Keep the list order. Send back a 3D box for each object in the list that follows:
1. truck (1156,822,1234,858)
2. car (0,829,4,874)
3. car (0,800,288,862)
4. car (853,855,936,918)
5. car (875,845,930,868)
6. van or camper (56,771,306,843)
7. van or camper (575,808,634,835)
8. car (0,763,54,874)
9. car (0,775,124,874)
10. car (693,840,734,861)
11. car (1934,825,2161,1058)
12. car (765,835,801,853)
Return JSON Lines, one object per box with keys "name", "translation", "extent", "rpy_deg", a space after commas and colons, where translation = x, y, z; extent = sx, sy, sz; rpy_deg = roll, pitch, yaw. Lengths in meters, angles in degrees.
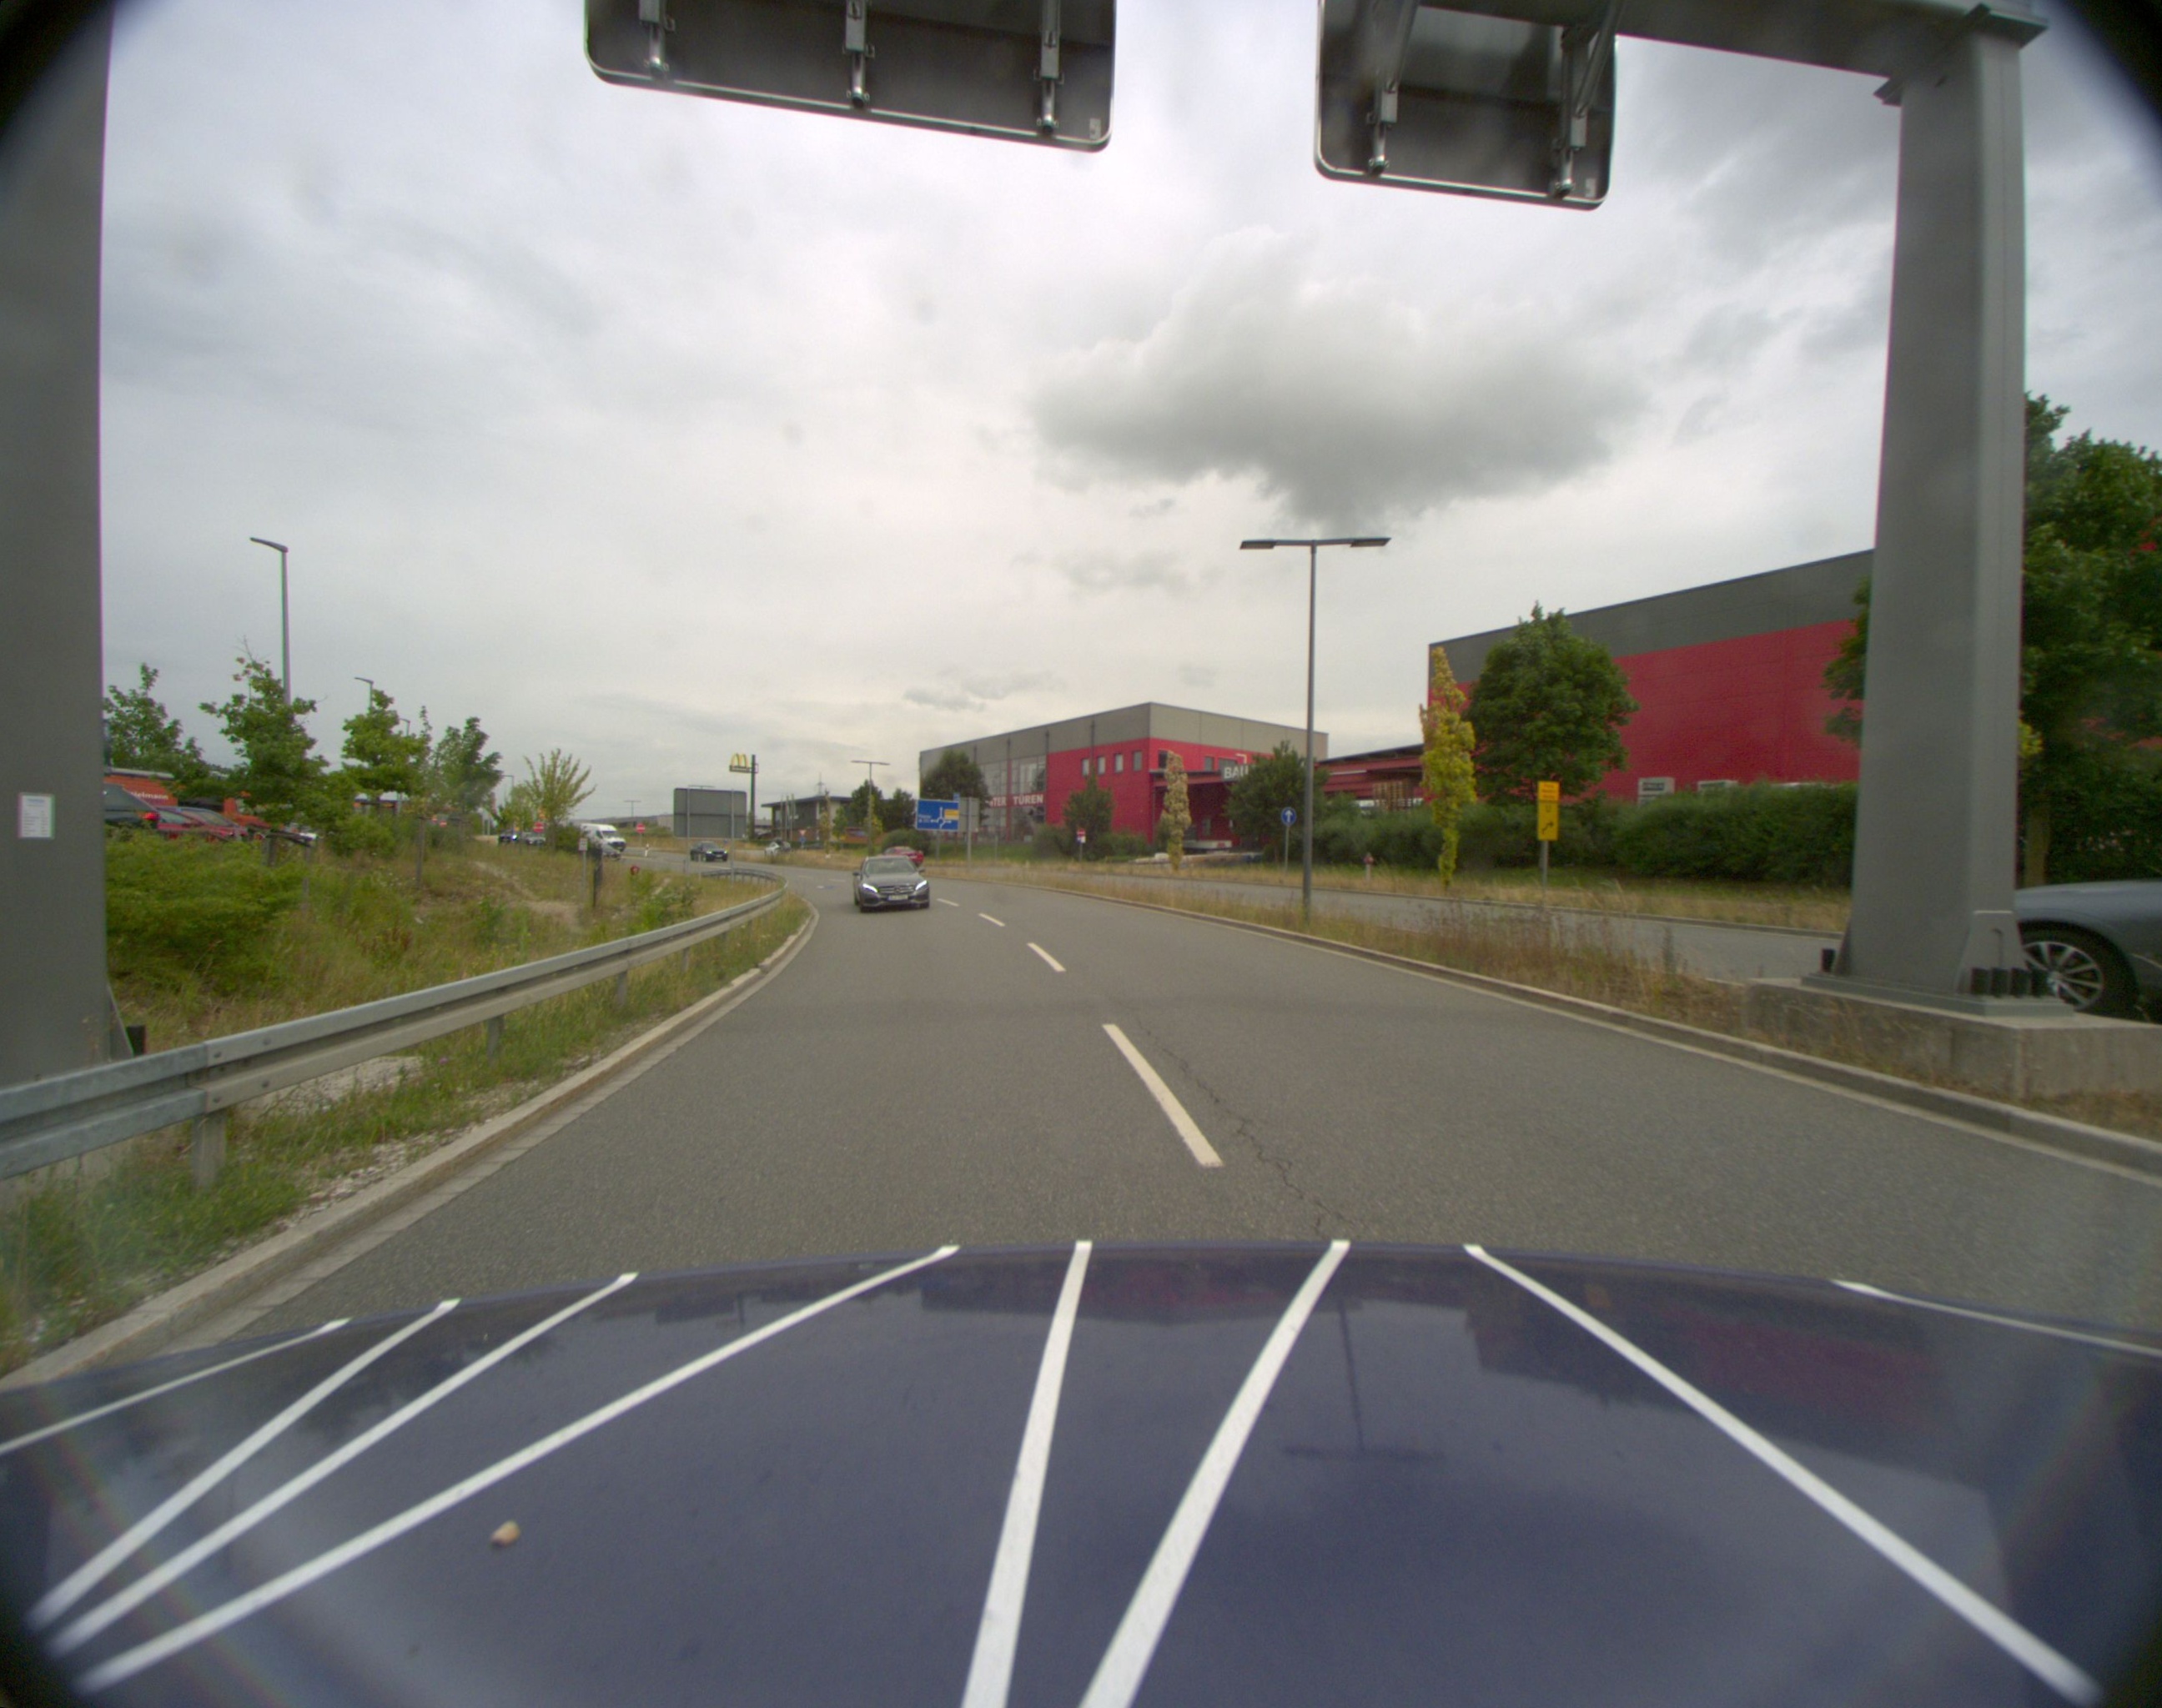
{"name": "truck", "translation": [8.164, -1.005, 55.084], "extent": [2.043, 2.473, 5.891], "rpy_deg": [-2, 2, -37]}
{"name": "car", "translation": [-15.275, -0.535, 7.984], "extent": [1.800, 1.772, 4.174], "rpy_deg": [-1, 2, 22]}
{"name": "car", "translation": [-23.875, -0.573, 19.482], "extent": [1.699, 1.392, 4.597], "rpy_deg": [2, 2, 28]}
{"name": "car", "translation": [-5.389, 0.826, 21.582], "extent": [1.909, 1.488, 4.332], "rpy_deg": [-3, 1, -18]}
{"name": "car", "translation": [-12.499, 0.162, 53.015], "extent": [1.800, 1.439, 4.958], "rpy_deg": [-4, 3, -37]}
{"name": "van or camper", "translation": [-27.739, -1.337, 23.710], "extent": [1.811, 1.986, 4.680], "rpy_deg": [0, 1, 11]}
{"name": "van or camper", "translation": [-48.176, -3.222, 76.795], "extent": [6.027, 2.635, 2.338], "rpy_deg": [1, 2, 29]}
{"name": "car", "translation": [-17.475, -0.448, 10.391], "extent": [1.728, 1.644, 3.865], "rpy_deg": [-1, 2, 32]}
{"name": "car", "translation": [-18.876, -0.449, 12.496], "extent": [1.514, 1.644, 3.741], "rpy_deg": [-1, 2, 36]}
{"name": "car", "translation": [-31.507, -0.315, 65.093], "extent": [3.988, 1.710, 1.847], "rpy_deg": [0, 3, 45]}
{"name": "car", "translation": [8.641, 0.611, 4.451], "extent": [1.814, 1.620, 4.684], "rpy_deg": [-2, 1, -5]}
{"name": "car", "translation": [-28.583, -0.936, 72.798], "extent": [1.918, 1.617, 4.624], "rpy_deg": [-4, 3, -39]}
